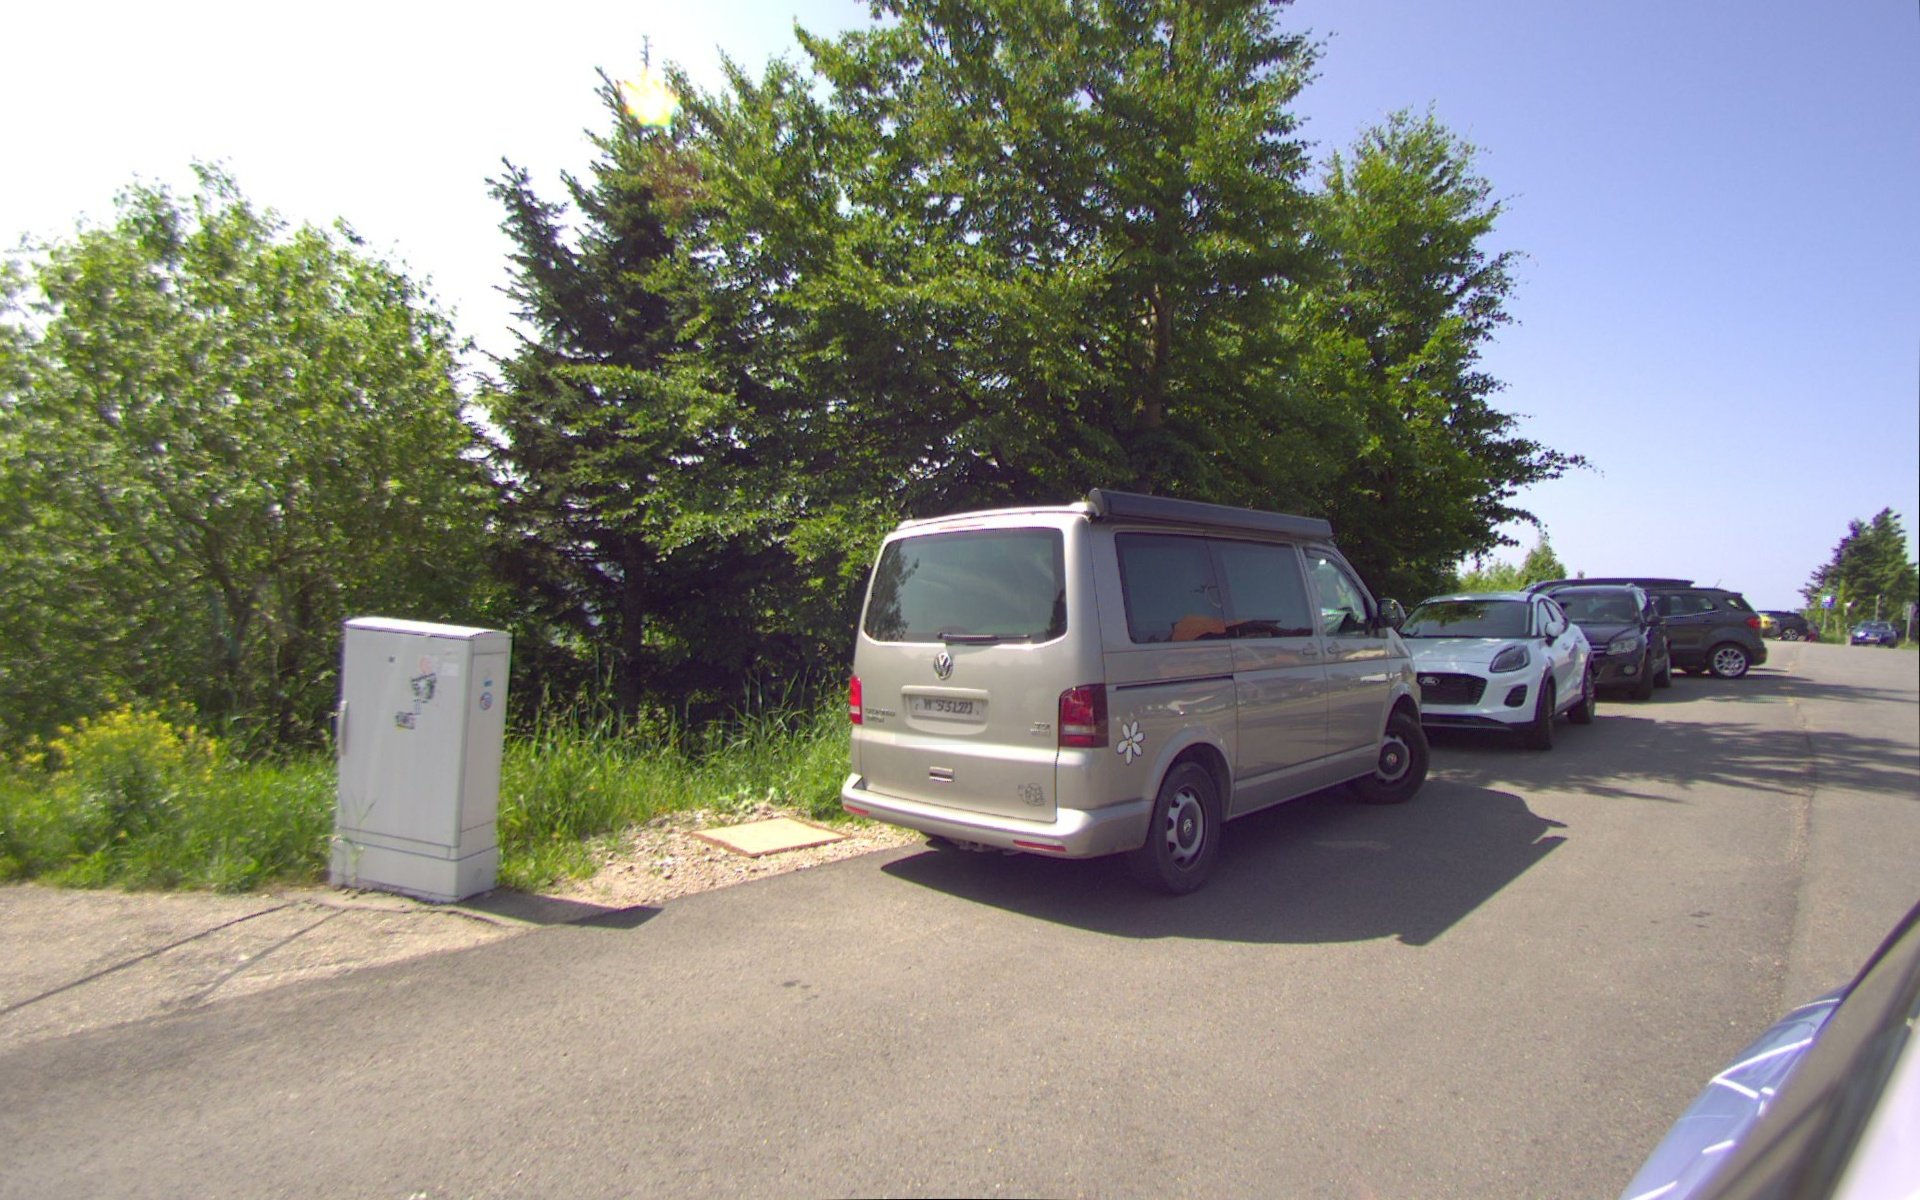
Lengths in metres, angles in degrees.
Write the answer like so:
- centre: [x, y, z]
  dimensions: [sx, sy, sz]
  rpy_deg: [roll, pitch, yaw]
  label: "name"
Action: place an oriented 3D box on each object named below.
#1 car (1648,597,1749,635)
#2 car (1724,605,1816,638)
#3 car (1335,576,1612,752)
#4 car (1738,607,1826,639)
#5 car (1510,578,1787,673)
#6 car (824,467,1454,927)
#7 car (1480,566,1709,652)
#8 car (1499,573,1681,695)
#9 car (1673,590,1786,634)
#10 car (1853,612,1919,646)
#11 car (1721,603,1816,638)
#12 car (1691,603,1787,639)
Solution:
- centre: [37.313, 0.779, 51.187]
  dimensions: [3.902, 1.634, 1.847]
  rpy_deg: [4, 3, 44]
  label: "car"
- centre: [46.426, 1.200, 58.048]
  dimensions: [3.902, 1.634, 1.847]
  rpy_deg: [4, 3, 44]
  label: "car"
- centre: [5.763, 0.574, 11.114]
  dimensions: [1.868, 1.567, 3.942]
  rpy_deg: [-1, -1, 40]
  label: "car"
- centre: [49.348, 1.347, 60.781]
  dimensions: [3.902, 1.634, 1.847]
  rpy_deg: [4, 3, 44]
  label: "car"
- centre: [12.729, 0.458, 19.049]
  dimensions: [3.953, 1.639, 1.862]
  rpy_deg: [0, -1, 22]
  label: "car"
- centre: [1.471, 0.428, 6.616]
  dimensions: [1.857, 1.960, 4.536]
  rpy_deg: [-1, -1, 44]
  label: "car"
- centre: [15.223, 0.215, 24.602]
  dimensions: [4.408, 1.950, 1.862]
  rpy_deg: [0, -1, 22]
  label: "car"
- centre: [9.856, 0.462, 15.709]
  dimensions: [1.868, 1.639, 3.942]
  rpy_deg: [-1, -1, 40]
  label: "car"
- centre: [39.855, 0.600, 52.498]
  dimensions: [4.448, 1.949, 1.847]
  rpy_deg: [4, 3, 44]
  label: "car"
- centre: [49.565, 1.513, 54.110]
  dimensions: [3.839, 1.634, 1.877]
  rpy_deg: [1, 2, -37]
  label: "car"
- centre: [44.762, 1.093, 56.089]
  dimensions: [3.902, 1.634, 1.847]
  rpy_deg: [4, 3, 44]
  label: "car"
- centre: [42.084, 1.111, 54.744]
  dimensions: [3.902, 1.634, 1.847]
  rpy_deg: [4, 3, 44]
  label: "car"
